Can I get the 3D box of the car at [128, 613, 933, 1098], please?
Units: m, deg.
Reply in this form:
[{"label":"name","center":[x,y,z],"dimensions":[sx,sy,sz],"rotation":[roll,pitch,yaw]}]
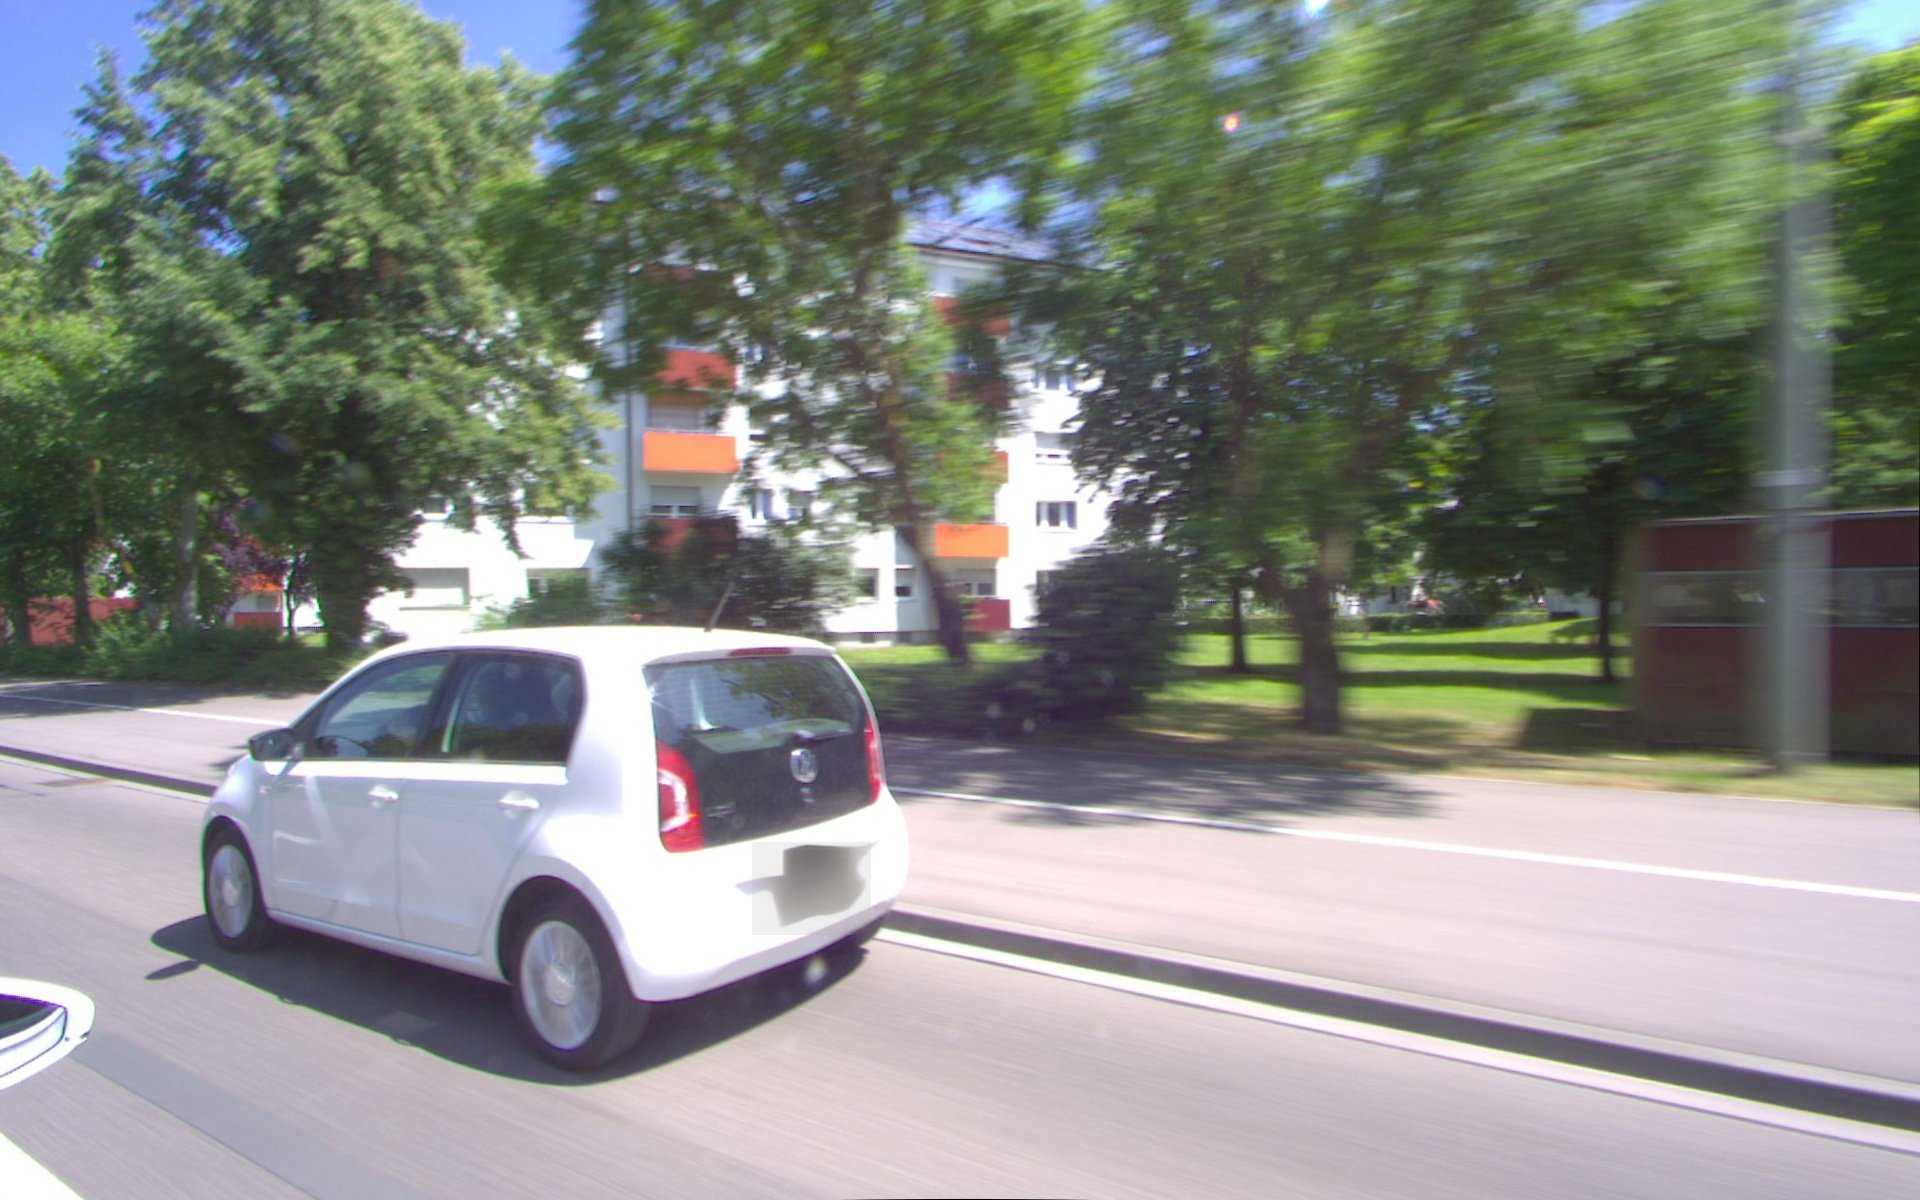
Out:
[{"label":"car","center":[-2.161,0.812,4.756],"dimensions":[3.799,1.468,1.656],"rotation":[-1,-1,32]}]
